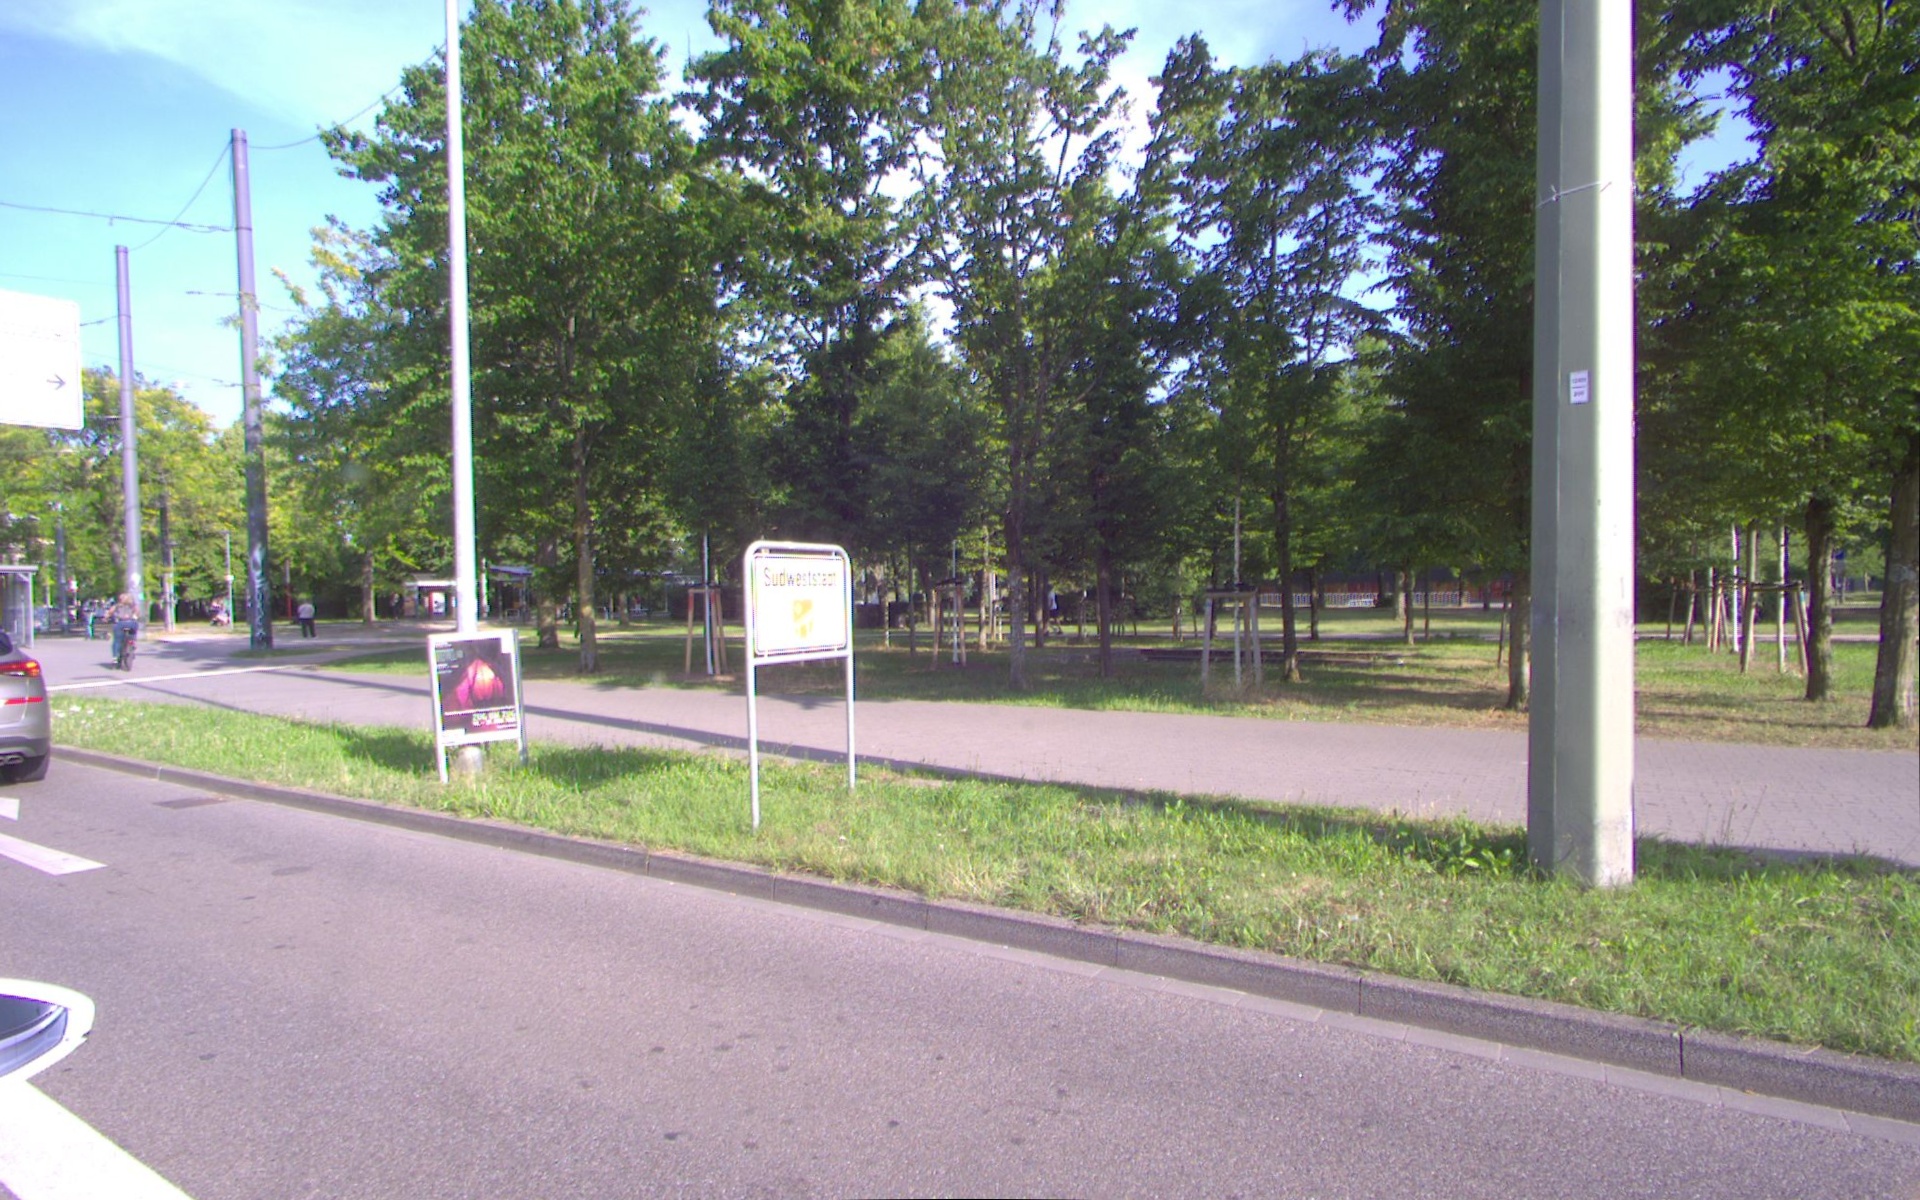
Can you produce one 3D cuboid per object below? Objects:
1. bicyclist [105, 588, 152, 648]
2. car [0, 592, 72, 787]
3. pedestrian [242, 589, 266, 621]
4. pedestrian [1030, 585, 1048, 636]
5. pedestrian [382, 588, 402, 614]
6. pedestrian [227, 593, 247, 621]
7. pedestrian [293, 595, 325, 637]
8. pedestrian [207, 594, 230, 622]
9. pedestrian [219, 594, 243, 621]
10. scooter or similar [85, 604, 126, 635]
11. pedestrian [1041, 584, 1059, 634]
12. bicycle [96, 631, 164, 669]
[{"bbox_3d":[-18.271,0.389,22.001,0.856,1.279,0.533,0,1,32],"label":"bicyclist"},{"bbox_3d":[-10.005,0.796,9.155,3.595,1.673,1.880,-1,1,32],"label":"car"},{"bbox_3d":[-40.259,0.281,57.134,0.826,1.809,0.798,0,1,28],"label":"pedestrian"},{"bbox_3d":[2.858,0.369,36.341,0.617,1.836,0.502,-1,1,6],"label":"pedestrian"},{"bbox_3d":[-35.606,0.066,62.786,0.792,1.659,0.832,0,1,38],"label":"pedestrian"},{"bbox_3d":[-39.998,0.394,55.404,0.804,1.508,0.696,-2,1,-33],"label":"pedestrian"},{"bbox_3d":[-26.382,0.642,40.603,0.793,1.659,0.754,-1,1,-7],"label":"pedestrian"},{"bbox_3d":[-41.038,0.449,55.421,0.687,1.508,0.815,-1,1,-9],"label":"pedestrian"},{"bbox_3d":[-41.102,0.404,56.448,0.688,1.508,0.813,0,1,22],"label":"pedestrian"},{"bbox_3d":[-31.435,0.710,36.834,1.305,1.132,0.420,-1,1,13],"label":"scooter or similar"},{"bbox_3d":[3.309,0.329,36.965,0.617,1.836,0.502,-1,1,3],"label":"pedestrian"},{"bbox_3d":[-18.248,1.080,22.001,2.138,0.767,0.494,-1,2,33],"label":"bicycle"}]
